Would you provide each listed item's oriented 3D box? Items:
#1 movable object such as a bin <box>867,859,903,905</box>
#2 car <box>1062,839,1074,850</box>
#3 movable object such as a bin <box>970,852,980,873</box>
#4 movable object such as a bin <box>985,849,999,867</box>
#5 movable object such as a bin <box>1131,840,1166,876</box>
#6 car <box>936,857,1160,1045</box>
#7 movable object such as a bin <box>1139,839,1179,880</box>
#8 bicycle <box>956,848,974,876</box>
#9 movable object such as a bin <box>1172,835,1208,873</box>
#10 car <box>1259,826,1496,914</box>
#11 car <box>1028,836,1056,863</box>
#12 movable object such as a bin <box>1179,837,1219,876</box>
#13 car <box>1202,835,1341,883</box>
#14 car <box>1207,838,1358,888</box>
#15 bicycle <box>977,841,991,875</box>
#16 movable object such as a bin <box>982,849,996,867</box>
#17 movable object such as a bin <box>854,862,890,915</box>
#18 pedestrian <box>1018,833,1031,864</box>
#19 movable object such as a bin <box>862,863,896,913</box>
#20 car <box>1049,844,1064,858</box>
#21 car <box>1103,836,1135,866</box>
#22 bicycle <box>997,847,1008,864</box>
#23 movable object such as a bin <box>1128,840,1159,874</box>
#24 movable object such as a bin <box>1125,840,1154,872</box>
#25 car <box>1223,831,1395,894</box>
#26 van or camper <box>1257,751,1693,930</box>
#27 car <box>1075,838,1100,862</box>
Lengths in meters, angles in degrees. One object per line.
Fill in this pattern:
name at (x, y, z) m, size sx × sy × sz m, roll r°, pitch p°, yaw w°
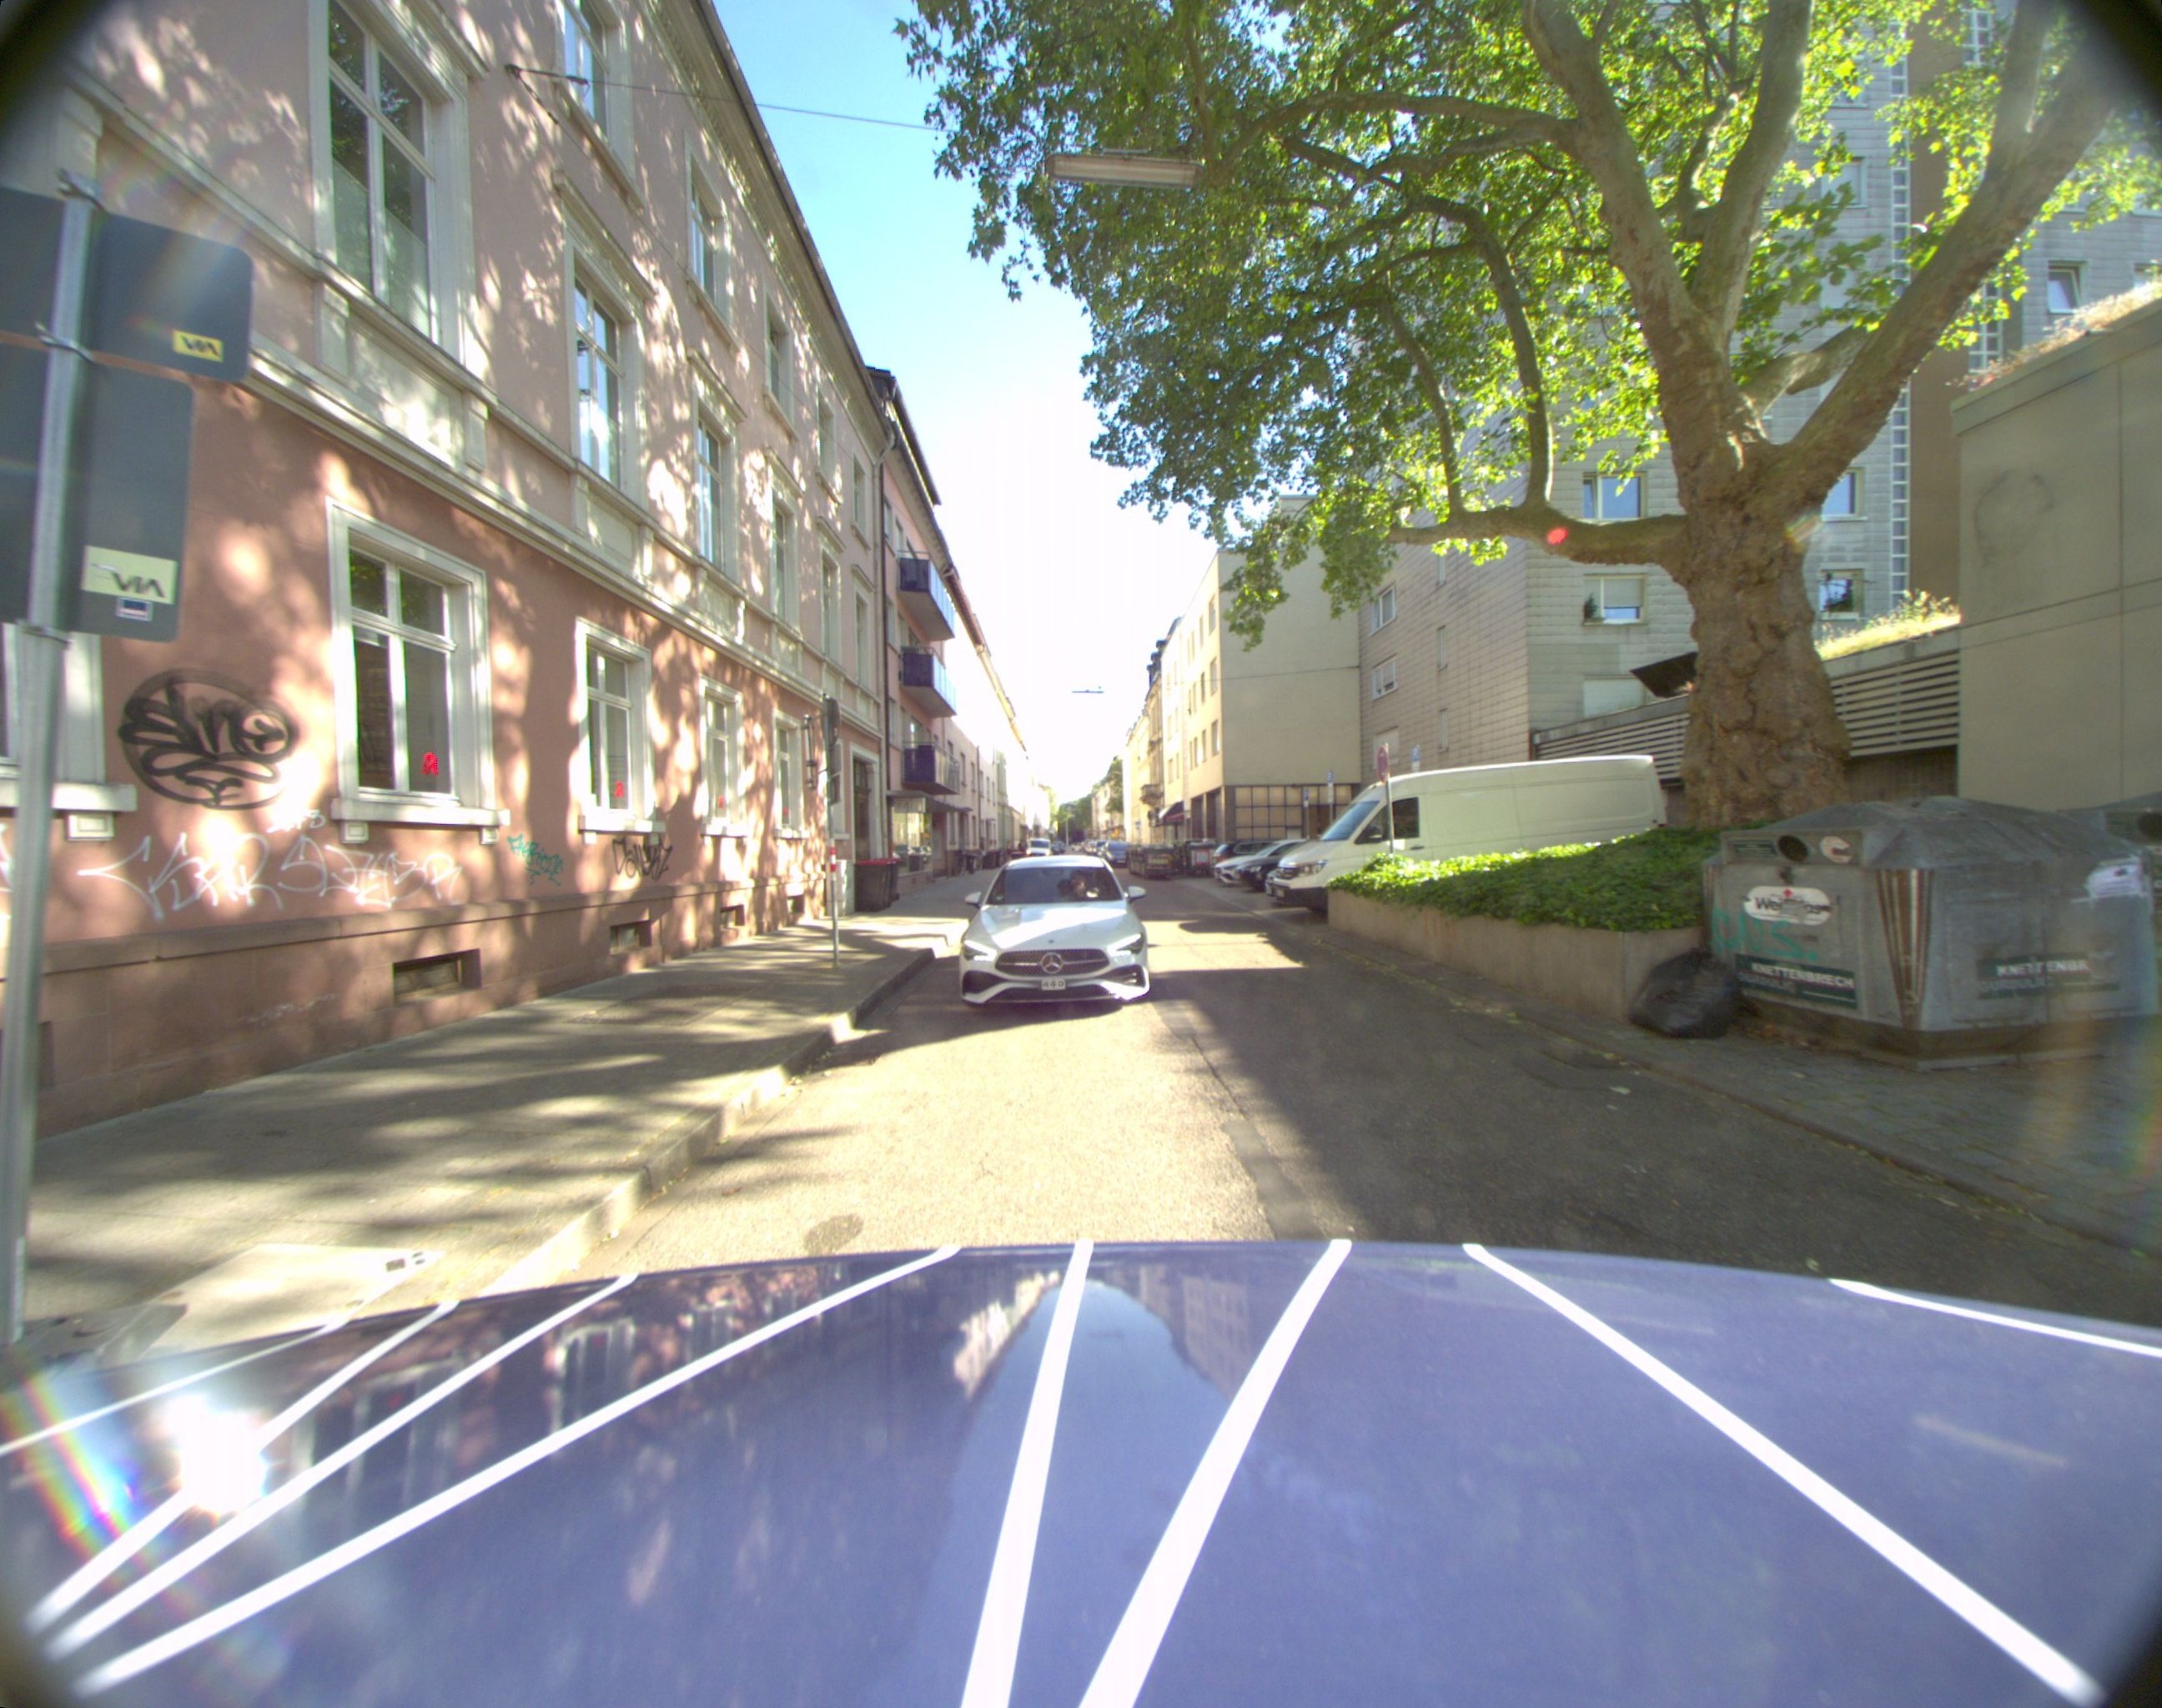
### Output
movable object such as a bin at (-4.799, 0.683, 18.596) m, size 0.718 × 1.078 × 0.618 m, roll 1°, pitch 1°, yaw -2°
car at (-2.034, -1.559, 119.931) m, size 1.765 × 1.698 × 4.326 m, roll -1°, pitch 1°, yaw -1°
movable object such as a bin at (-4.873, 0.380, 35.060) m, size 0.416 × 0.935 × 0.302 m, roll 1°, pitch 2°, yaw -2°
movable object such as a bin at (-5.002, 0.237, 42.633) m, size 0.717 × 0.996 × 0.546 m, roll 1°, pitch 1°, yaw -2°
movable object such as a bin at (2.889, 0.165, 32.917) m, size 1.247 × 1.492 × 1.924 m, roll -1°, pitch 1°, yaw -2°
car at (-0.270, 0.842, 8.799) m, size 1.862 × 1.449 × 4.561 m, roll -2°, pitch 1°, yaw 0°
movable object such as a bin at (3.119, 0.194, 30.694) m, size 1.241 × 1.492 × 1.876 m, roll -4°, pitch 2°, yaw -2°
bicycle at (-4.941, 0.325, 32.431) m, size 0.402 × 1.144 × 2.024 m, roll -1°, pitch 1°, yaw 0°
movable object such as a bin at (4.510, -0.007, 31.616) m, size 1.222 × 1.492 × 1.517 m, roll -1°, pitch 1°, yaw -3°
car at (6.299, 0.316, 16.465) m, size 4.415 × 1.525 × 1.698 m, roll -4°, pitch 1°, yaw -1°
car at (-2.855, -0.377, 56.285) m, size 1.765 × 1.843 × 4.326 m, roll -1°, pitch 1°, yaw 0°
movable object such as a bin at (4.688, 0.070, 30.196) m, size 1.328 × 1.492 × 1.194 m, roll -1°, pitch 2°, yaw -3°
car at (6.640, 0.157, 26.747) m, size 4.417 × 1.524 × 1.698 m, roll -2°, pitch 1°, yaw -6°
car at (6.442, 0.265, 24.464) m, size 4.417 × 1.454 × 1.598 m, roll -2°, pitch 1°, yaw -6°
bicycle at (-5.128, 0.181, 40.222) m, size 0.402 × 1.726 × 2.106 m, roll -1°, pitch 1°, yaw 0°
movable object such as a bin at (-5.084, 0.229, 42.038) m, size 0.717 × 0.996 × 0.546 m, roll 1°, pitch 1°, yaw -2°
movable object such as a bin at (-4.422, 0.720, 16.102) m, size 0.570 × 1.078 × 0.654 m, roll 1°, pitch 1°, yaw -2°
pedestrian at (-3.720, -0.374, 50.317) m, size 0.761 × 2.002 × 0.771 m, roll -1°, pitch 2°, yaw 0°
movable object such as a bin at (-4.446, 0.738, 16.729) m, size 0.570 × 1.052 × 0.611 m, roll 1°, pitch 1°, yaw -2°
car at (-2.988, -0.396, 94.640) m, size 1.765 × 1.698 × 4.326 m, roll -1°, pitch 1°, yaw -1°
car at (2.279, -0.214, 46.819) m, size 1.765 × 1.698 × 4.326 m, roll -1°, pitch 1°, yaw 0°
bicycle at (-5.159, 0.110, 50.283) m, size 0.490 × 1.090 × 1.932 m, roll -1°, pitch 1°, yaw 0°
movable object such as a bin at (2.855, 0.121, 34.989) m, size 1.222 × 1.492 × 1.559 m, roll -1°, pitch 1°, yaw -3°
movable object such as a bin at (2.802, 0.066, 36.574) m, size 1.222 × 1.492 × 1.559 m, roll -1°, pitch 1°, yaw -3°
car at (6.512, 0.213, 21.912) m, size 4.417 × 1.607 × 1.697 m, roll -2°, pitch 1°, yaw -6°
van or camper at (7.044, -0.238, 14.135) m, size 6.923 × 2.560 × 2.000 m, roll -5°, pitch 1°, yaw 0°
car at (0.496, -0.330, 58.207) m, size 1.765 × 1.698 × 4.327 m, roll -1°, pitch 1°, yaw 0°
